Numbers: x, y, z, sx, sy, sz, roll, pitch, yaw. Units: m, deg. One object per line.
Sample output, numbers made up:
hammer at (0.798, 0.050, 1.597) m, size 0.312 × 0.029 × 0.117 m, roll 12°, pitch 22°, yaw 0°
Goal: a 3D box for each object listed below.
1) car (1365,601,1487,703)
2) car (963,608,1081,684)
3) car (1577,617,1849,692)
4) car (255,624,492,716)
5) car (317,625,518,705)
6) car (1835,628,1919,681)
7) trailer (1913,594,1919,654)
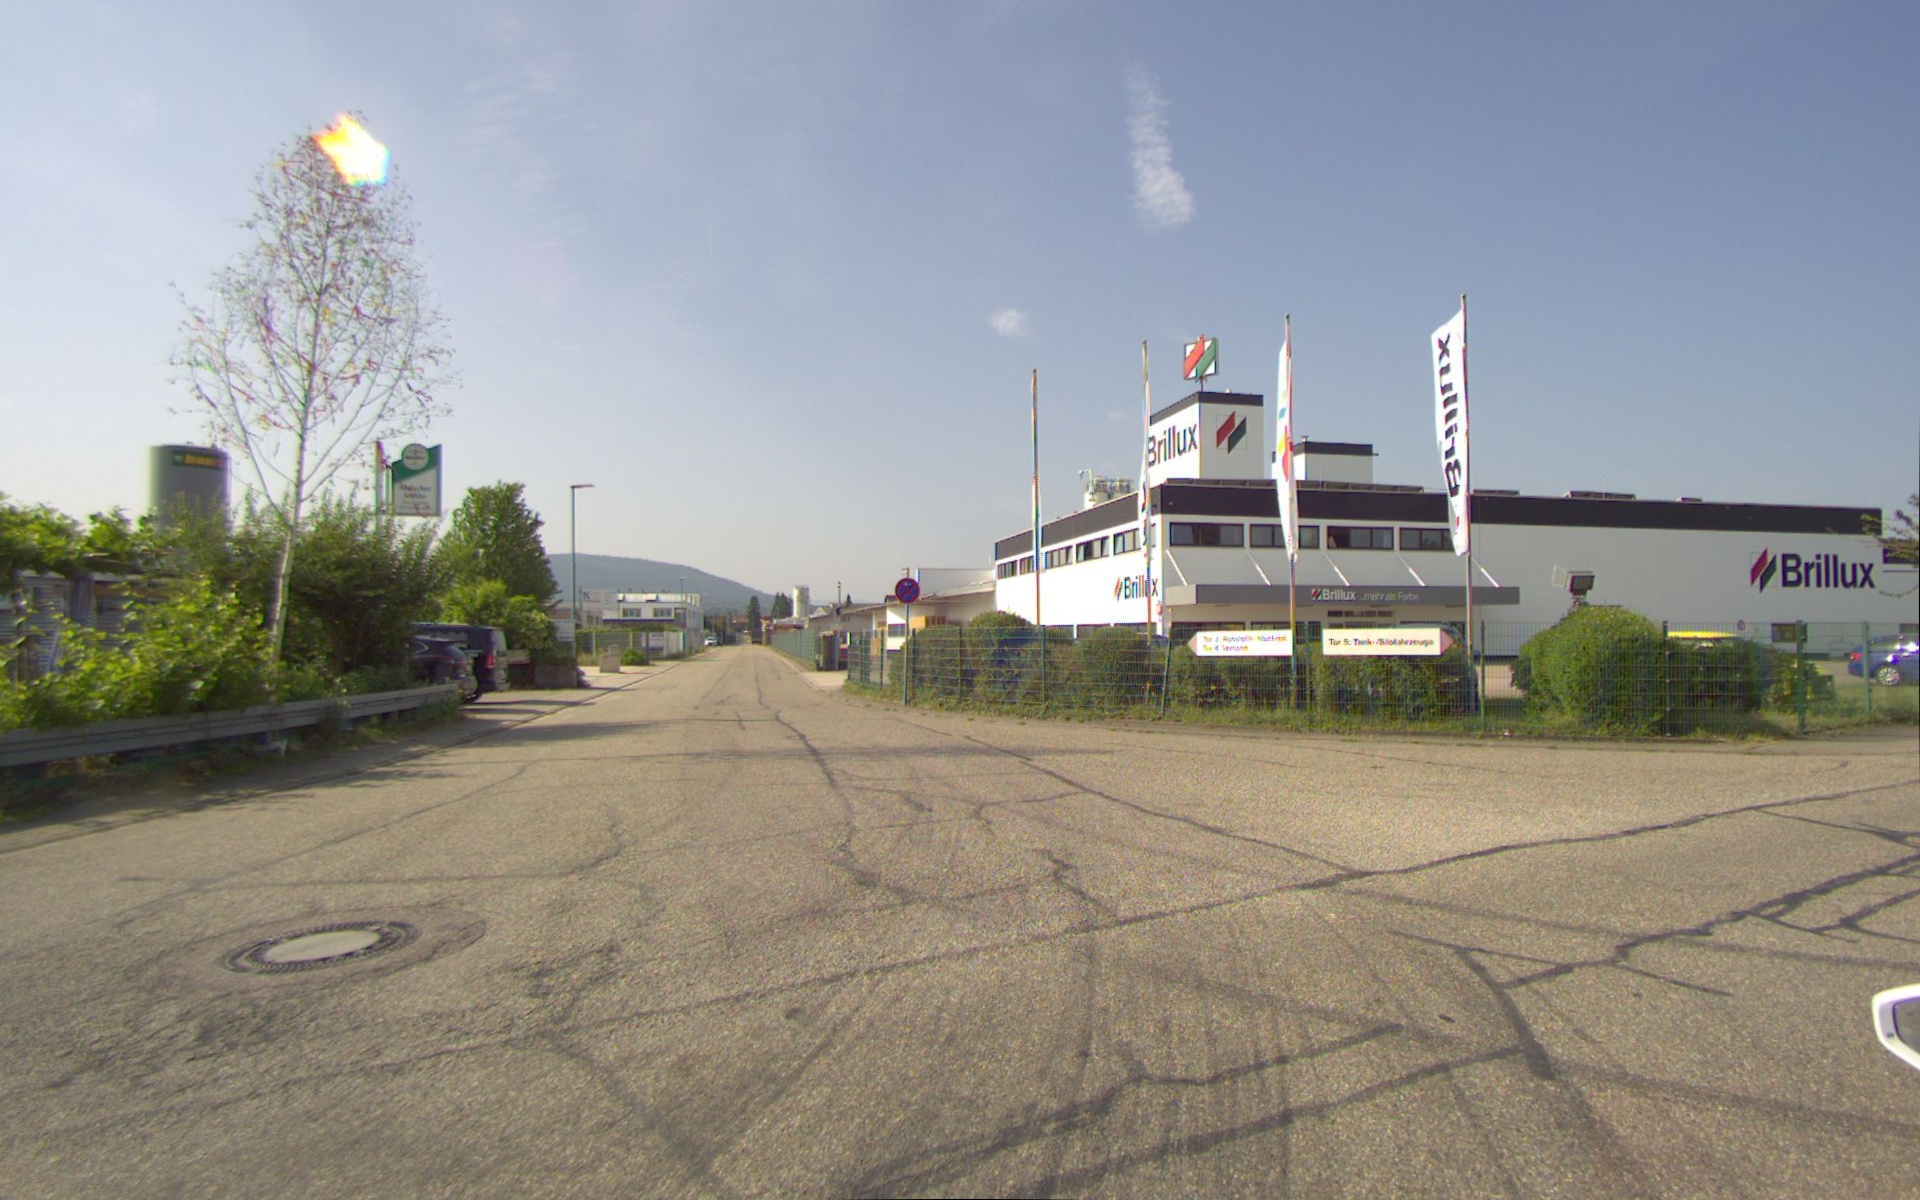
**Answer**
car at (9.141, 0.944, 19.859) m, size 1.920 × 1.718 × 4.509 m, roll 1°, pitch 0°, yaw 24°
car at (1.482, 1.160, 26.020) m, size 2.112 × 1.775 × 4.659 m, roll 0°, pitch -2°, yaw -9°
car at (15.512, 1.094, 20.939) m, size 1.846 × 1.386 × 4.147 m, roll 1°, pitch -2°, yaw -29°
car at (-12.222, 1.418, 21.257) m, size 3.936 × 1.795 × 1.993 m, roll 0°, pitch -2°, yaw -18°
car at (-12.942, 1.523, 24.270) m, size 3.936 × 1.795 × 1.993 m, roll 0°, pitch -2°, yaw -18°
car at (27.311, 1.468, 27.465) m, size 2.054 × 1.463 × 4.665 m, roll 1°, pitch -4°, yaw -30°
trailer at (72.025, 1.824, 69.152) m, size 13.655 × 4.095 × 2.482 m, roll 2°, pitch 0°, yaw -15°
